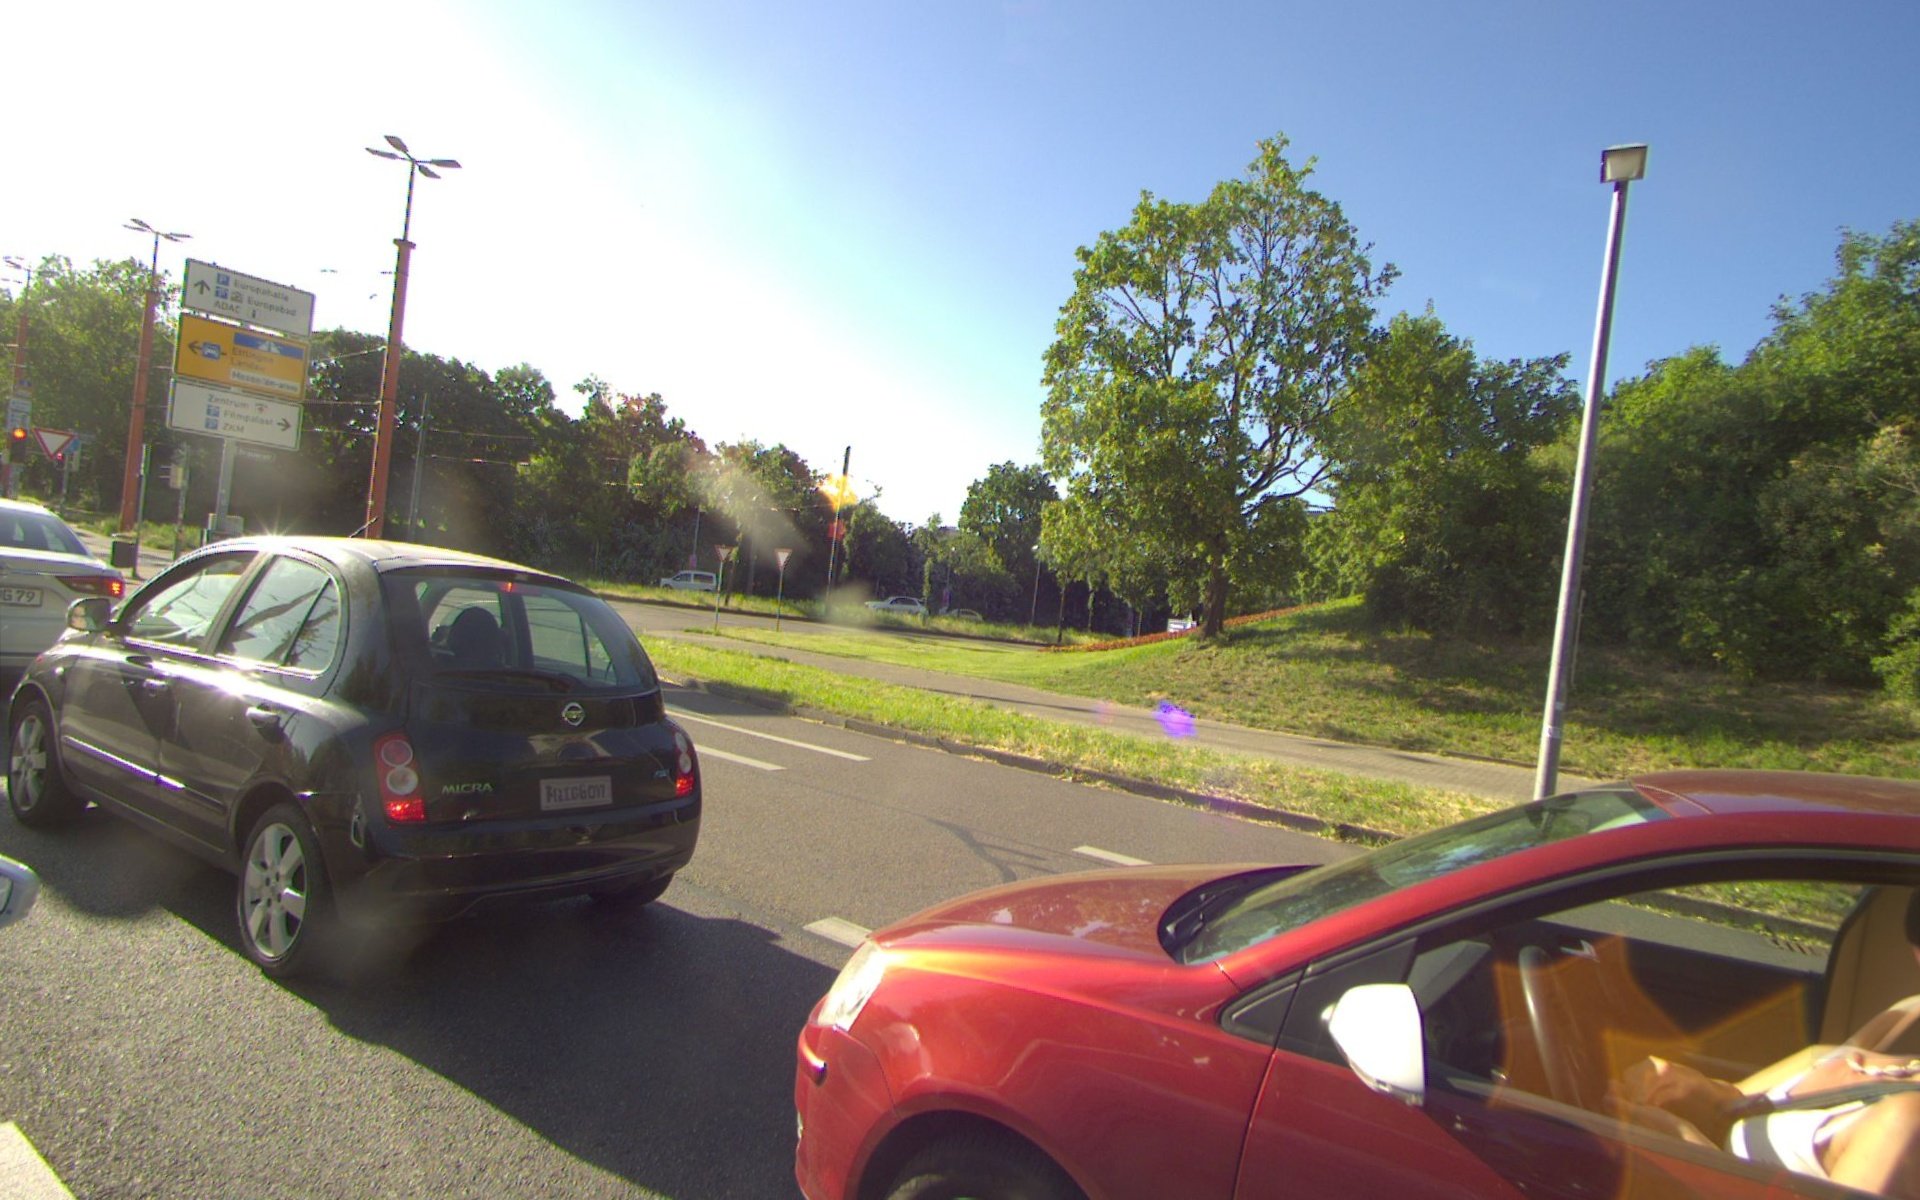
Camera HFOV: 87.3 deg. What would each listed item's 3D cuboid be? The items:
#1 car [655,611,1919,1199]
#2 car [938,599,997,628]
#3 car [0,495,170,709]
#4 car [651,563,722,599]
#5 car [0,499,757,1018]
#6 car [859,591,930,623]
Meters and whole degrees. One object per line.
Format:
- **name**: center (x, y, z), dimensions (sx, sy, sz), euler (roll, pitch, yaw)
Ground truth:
- **car**: center (1.339, 1.002, 1.866), dimensions (3.629, 1.477, 1.579), euler (6, -2, 32)
- **car**: center (0.607, 1.061, 77.880), dimensions (4.176, 1.701, 1.643), euler (8, -1, -32)
- **car**: center (-8.376, -0.175, 8.077), dimensions (4.256, 1.457, 1.802), euler (6, -2, 33)
- **car**: center (-18.034, -1.275, 66.417), dimensions (4.090, 1.771, 1.643), euler (8, -1, -31)
- **car**: center (-2.803, 0.467, 4.622), dimensions (3.385, 1.457, 1.579), euler (6, -2, 32)
- **car**: center (-4.562, 0.517, 70.714), dimensions (4.629, 1.644, 1.643), euler (8, -1, -32)
